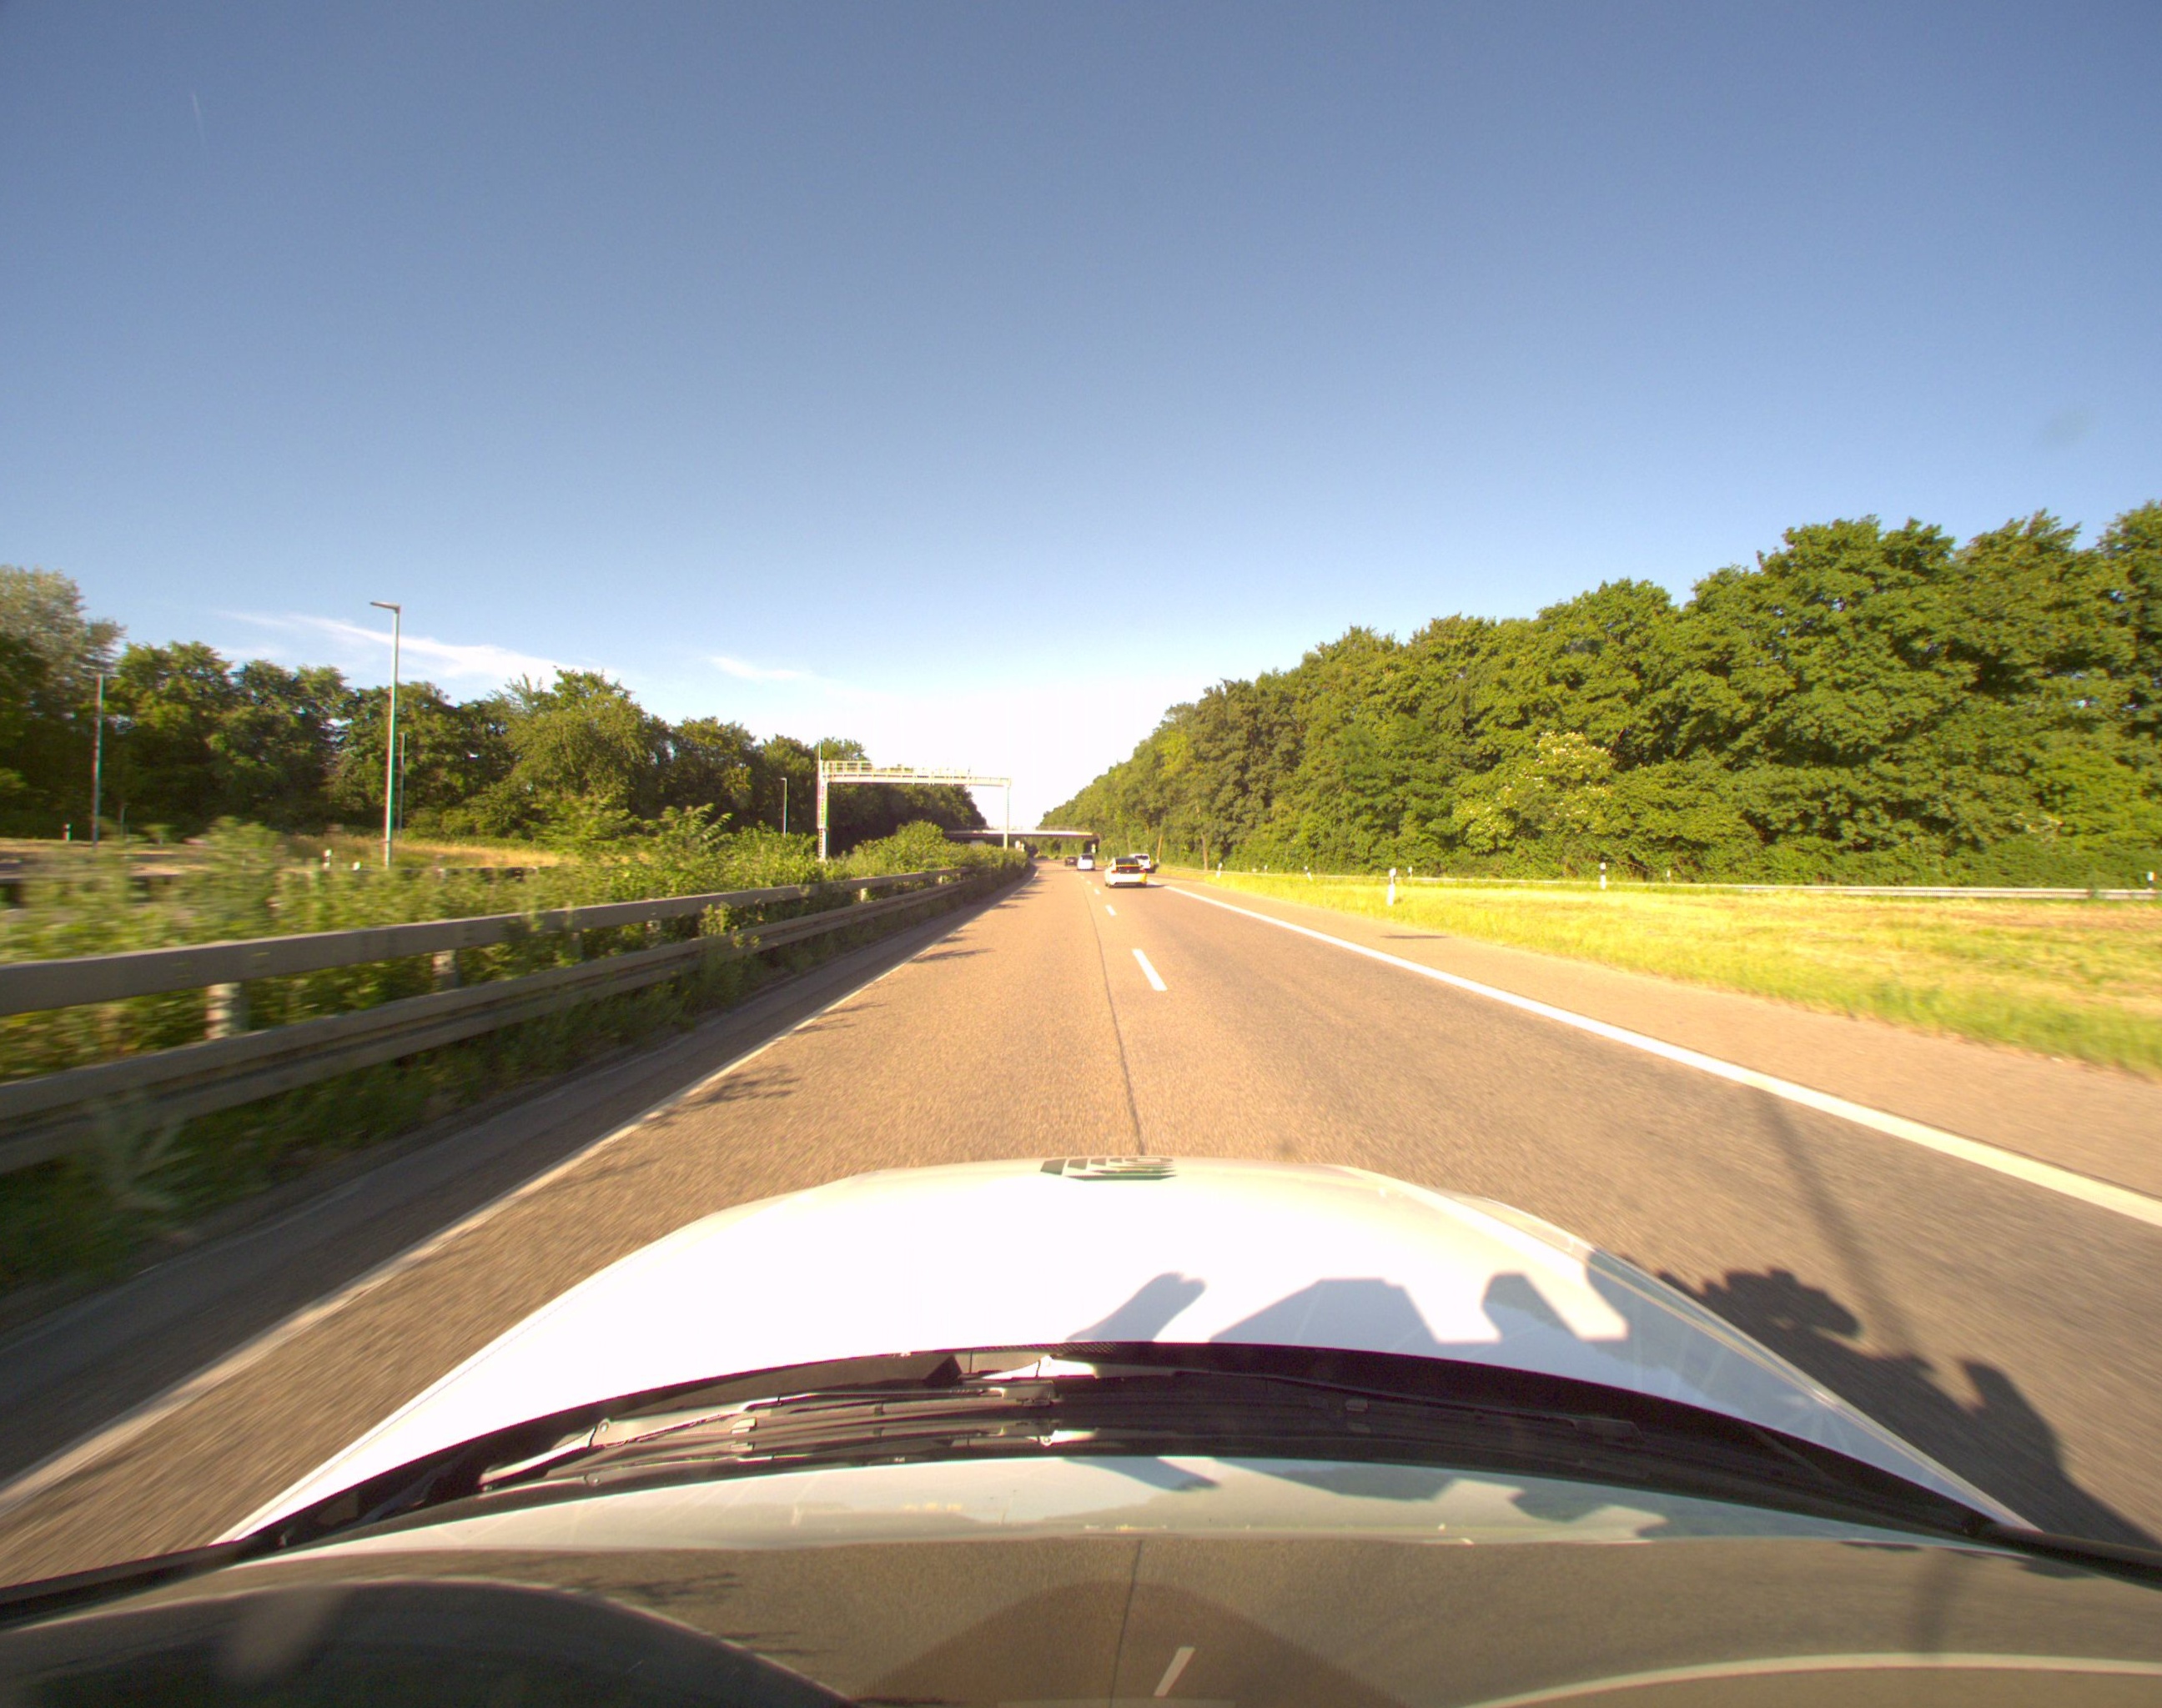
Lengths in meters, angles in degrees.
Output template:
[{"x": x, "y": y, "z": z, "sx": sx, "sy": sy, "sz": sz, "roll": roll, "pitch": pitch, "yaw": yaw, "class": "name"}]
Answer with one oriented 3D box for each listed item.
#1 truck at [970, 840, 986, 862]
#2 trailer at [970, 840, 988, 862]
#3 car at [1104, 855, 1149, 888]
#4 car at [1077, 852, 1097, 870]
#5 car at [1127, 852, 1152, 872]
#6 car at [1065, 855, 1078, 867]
[{"x": -19.763, "y": -0.591, "z": 156.494, "sx": 2.733, "sy": 4.027, "sz": 6.170, "roll": 1, "pitch": 0, "yaw": -4, "class": "truck"}, {"x": -20.219, "y": -0.565, "z": 162.717, "sx": 2.733, "sy": 4.027, "sz": 14.054, "roll": 1, "pitch": 0, "yaw": -4, "class": "trailer"}, {"x": 2.152, "y": 0.823, "z": 39.661, "sx": 1.892, "sy": 1.471, "sz": 3.997, "roll": -1, "pitch": 0, "yaw": -2, "class": "car"}, {"x": 0.614, "y": 0.733, "z": 84.253, "sx": 1.892, "sy": 1.767, "sz": 3.996, "roll": -1, "pitch": 0, "yaw": -2, "class": "car"}, {"x": 5.423, "y": 0.746, "z": 75.695, "sx": 1.892, "sy": 1.824, "sz": 3.996, "roll": -1, "pitch": 0, "yaw": -2, "class": "car"}, {"x": -1.426, "y": 1.025, "z": 121.421, "sx": 1.891, "sy": 1.767, "sz": 3.998, "roll": -1, "pitch": 0, "yaw": -1, "class": "car"}]
